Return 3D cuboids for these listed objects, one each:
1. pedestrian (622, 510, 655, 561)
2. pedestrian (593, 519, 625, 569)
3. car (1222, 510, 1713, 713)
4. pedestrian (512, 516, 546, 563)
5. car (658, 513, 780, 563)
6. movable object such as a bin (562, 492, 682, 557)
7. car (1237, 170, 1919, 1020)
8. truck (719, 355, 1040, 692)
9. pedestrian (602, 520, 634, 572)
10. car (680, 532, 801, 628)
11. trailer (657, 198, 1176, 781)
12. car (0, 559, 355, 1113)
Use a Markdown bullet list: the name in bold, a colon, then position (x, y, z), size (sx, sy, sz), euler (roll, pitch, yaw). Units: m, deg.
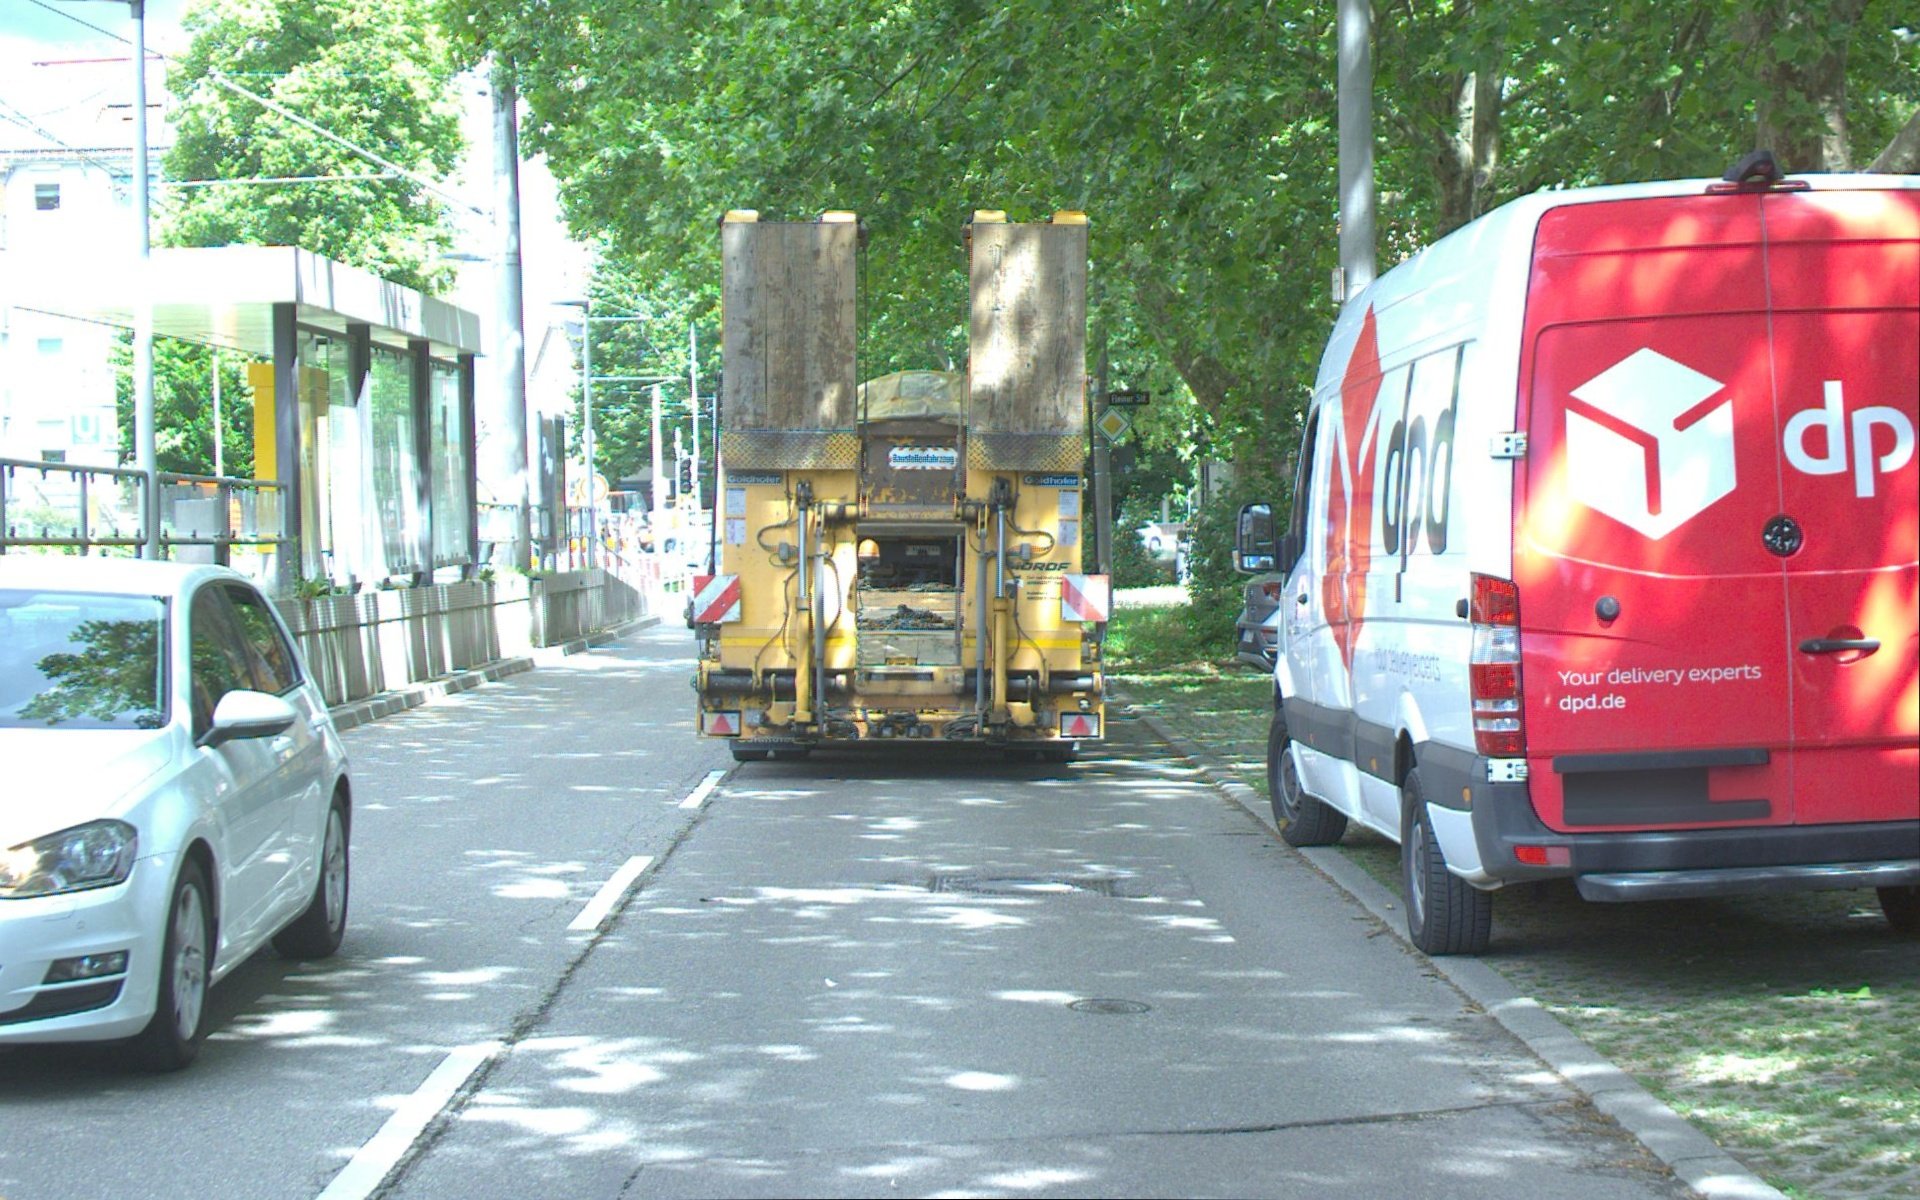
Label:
- **pedestrian**: position (-11.671, -2.337, 124.804), size (0.887, 1.860, 0.836), euler (1, 1, 29)
- **pedestrian**: position (-12.348, -1.987, 121.008), size (0.886, 1.754, 0.836), euler (1, 1, 17)
- **car**: position (4.318, 0.078, 29.503), size (3.828, 1.557, 1.620), euler (-2, 1, -7)
- **pedestrian**: position (-15.041, -2.107, 120.054), size (0.885, 1.639, 0.900), euler (0, 1, -31)
- **car**: position (-10.704, -2.749, 152.520), size (5.088, 2.095, 1.977), euler (1, 1, -14)
- **movable object such as a bin**: position (-13.816, -3.072, 140.387), size (4.373, 2.620, 2.217), euler (1, 1, 26)
- **car**: position (2.448, -0.086, 14.052), size (1.904, 2.572, 6.834), euler (-2, 1, -1)
- **truck**: position (-0.875, -0.786, 35.985), size (2.989, 3.124, 7.888), euler (0, 1, -2)
- **pedestrian**: position (-12.110, -1.914, 121.743), size (0.885, 1.860, 0.837), euler (0, 1, -29)
- **car**: position (-3.563, -0.358, 56.386), size (1.762, 1.476, 4.577), euler (1, 1, -1)
- **trailer**: position (-0.500, -0.775, 26.526), size (3.154, 3.540, 11.098), euler (0, 1, -2)
- **car**: position (-3.020, 0.582, 10.690), size (1.732, 1.391, 3.752), euler (1, 1, -2)
